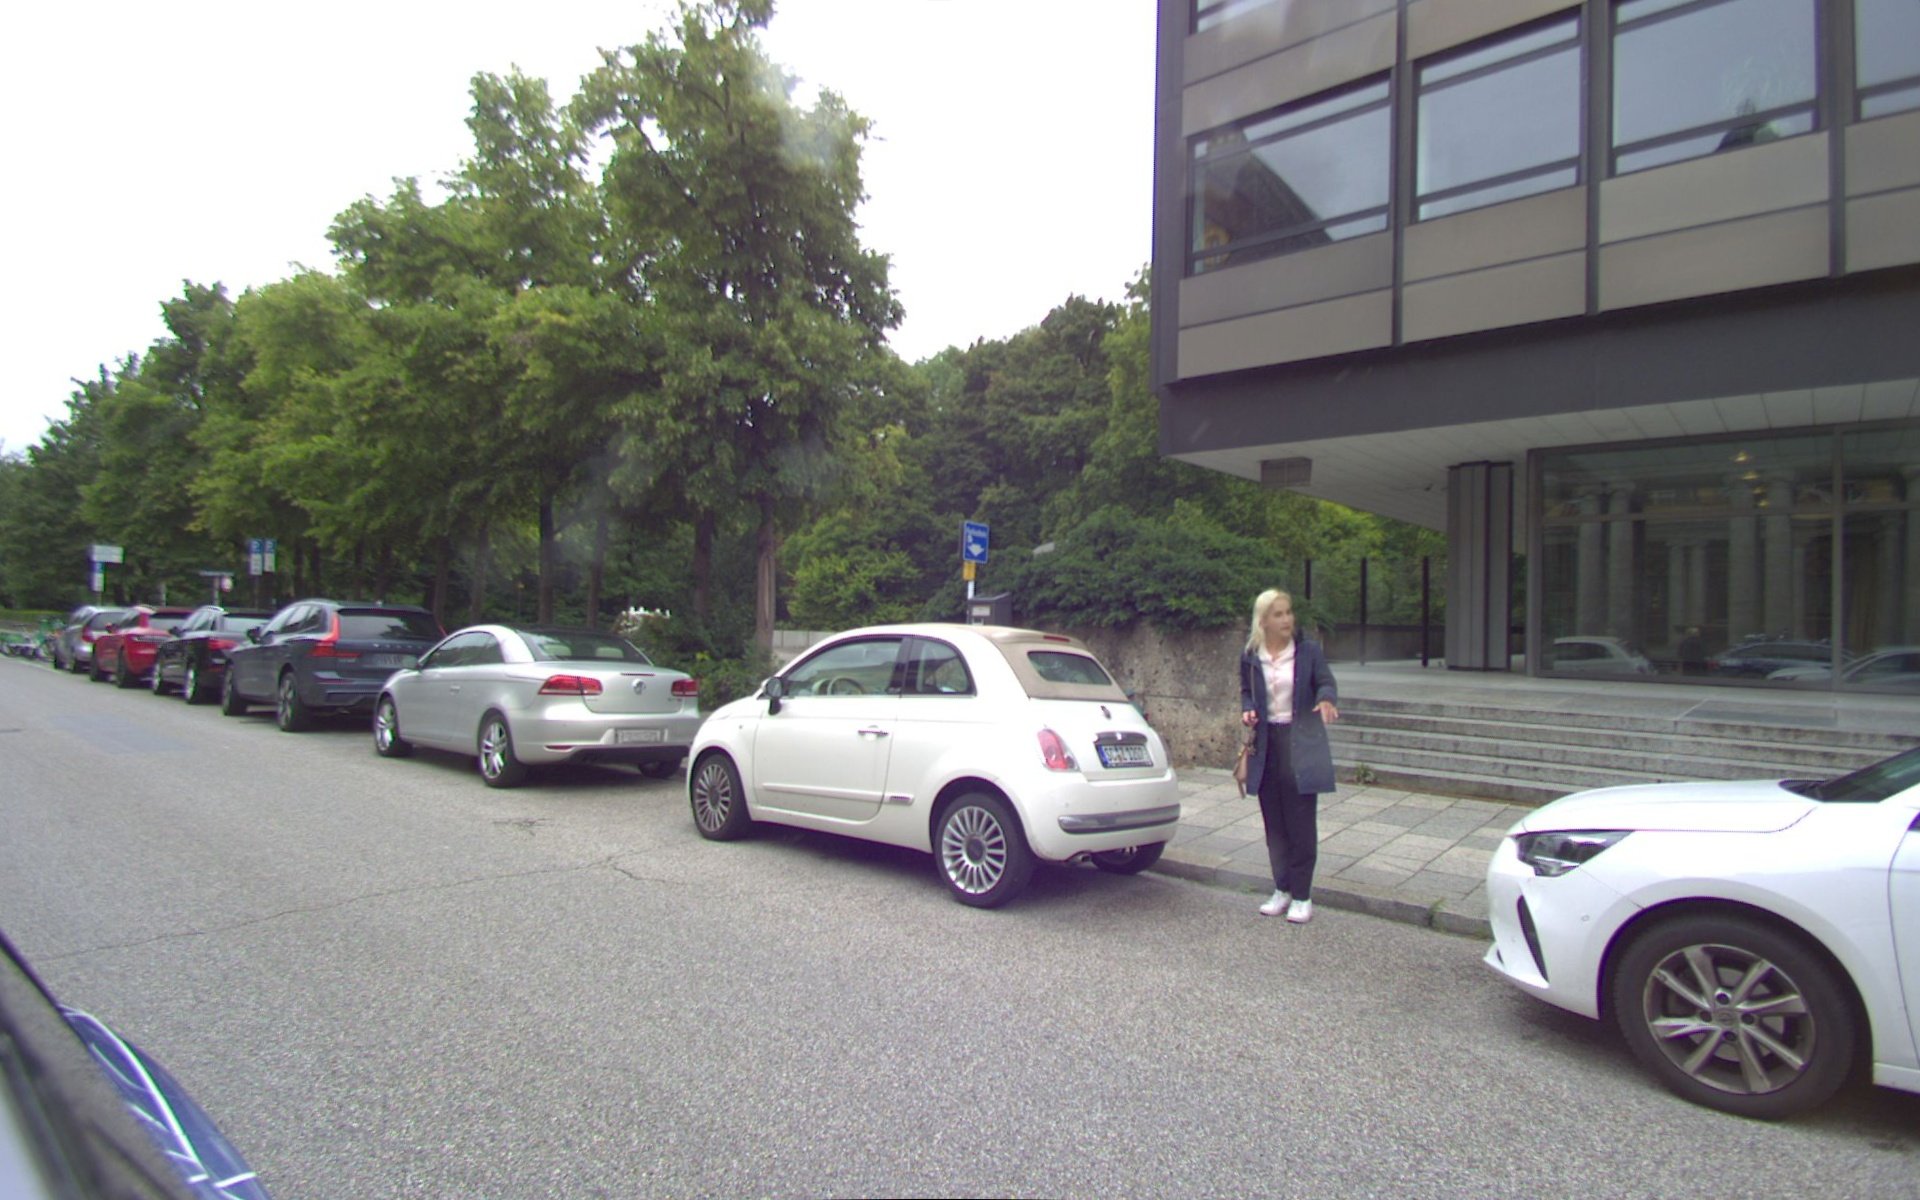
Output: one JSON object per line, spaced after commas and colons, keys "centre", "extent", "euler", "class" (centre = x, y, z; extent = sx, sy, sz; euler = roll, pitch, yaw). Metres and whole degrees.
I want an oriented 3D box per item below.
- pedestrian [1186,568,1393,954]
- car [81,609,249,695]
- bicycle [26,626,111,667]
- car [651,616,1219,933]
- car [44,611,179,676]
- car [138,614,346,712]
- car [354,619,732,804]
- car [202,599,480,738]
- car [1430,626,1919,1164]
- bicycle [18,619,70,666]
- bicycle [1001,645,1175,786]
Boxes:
{"centre": [1.713, 0.766, 5.222], "extent": [0.690, 1.765, 0.880], "euler": [-2, -5, 44], "class": "pedestrian"}
{"centre": [-16.320, 1.007, 20.703], "extent": [4.363, 1.555, 1.972], "euler": [-1, -3, 42], "class": "car"}
{"centre": [-25.211, 1.294, 28.640], "extent": [0.597, 1.116, 1.681], "euler": [0, -1, 33], "class": "bicycle"}
{"centre": [-0.319, 0.881, 6.538], "extent": [3.551, 1.482, 1.527], "euler": [-1, -4, 41], "class": "car"}
{"centre": [-21.151, 1.056, 25.181], "extent": [4.363, 1.472, 1.972], "euler": [-1, -3, 42], "class": "car"}
{"centre": [-12.527, 1.010, 17.543], "extent": [4.646, 1.472, 1.972], "euler": [-1, -3, 42], "class": "car"}
{"centre": [-4.214, 0.956, 9.897], "extent": [4.217, 1.411, 1.739], "euler": [-1, -5, 43], "class": "car"}
{"centre": [-8.621, 0.847, 13.925], "extent": [4.520, 1.595, 1.973], "euler": [-1, -3, 41], "class": "car"}
{"centre": [3.835, 0.870, 2.829], "extent": [4.278, 1.451, 1.663], "euler": [0, -5, 42], "class": "car"}
{"centre": [-26.583, 1.218, 29.389], "extent": [0.566, 1.292, 1.423], "euler": [0, 0, -16], "class": "bicycle"}
{"centre": [1.191, 1.043, 9.590], "extent": [1.526, 1.173, 0.636], "euler": [-1, 0, 40], "class": "bicycle"}
